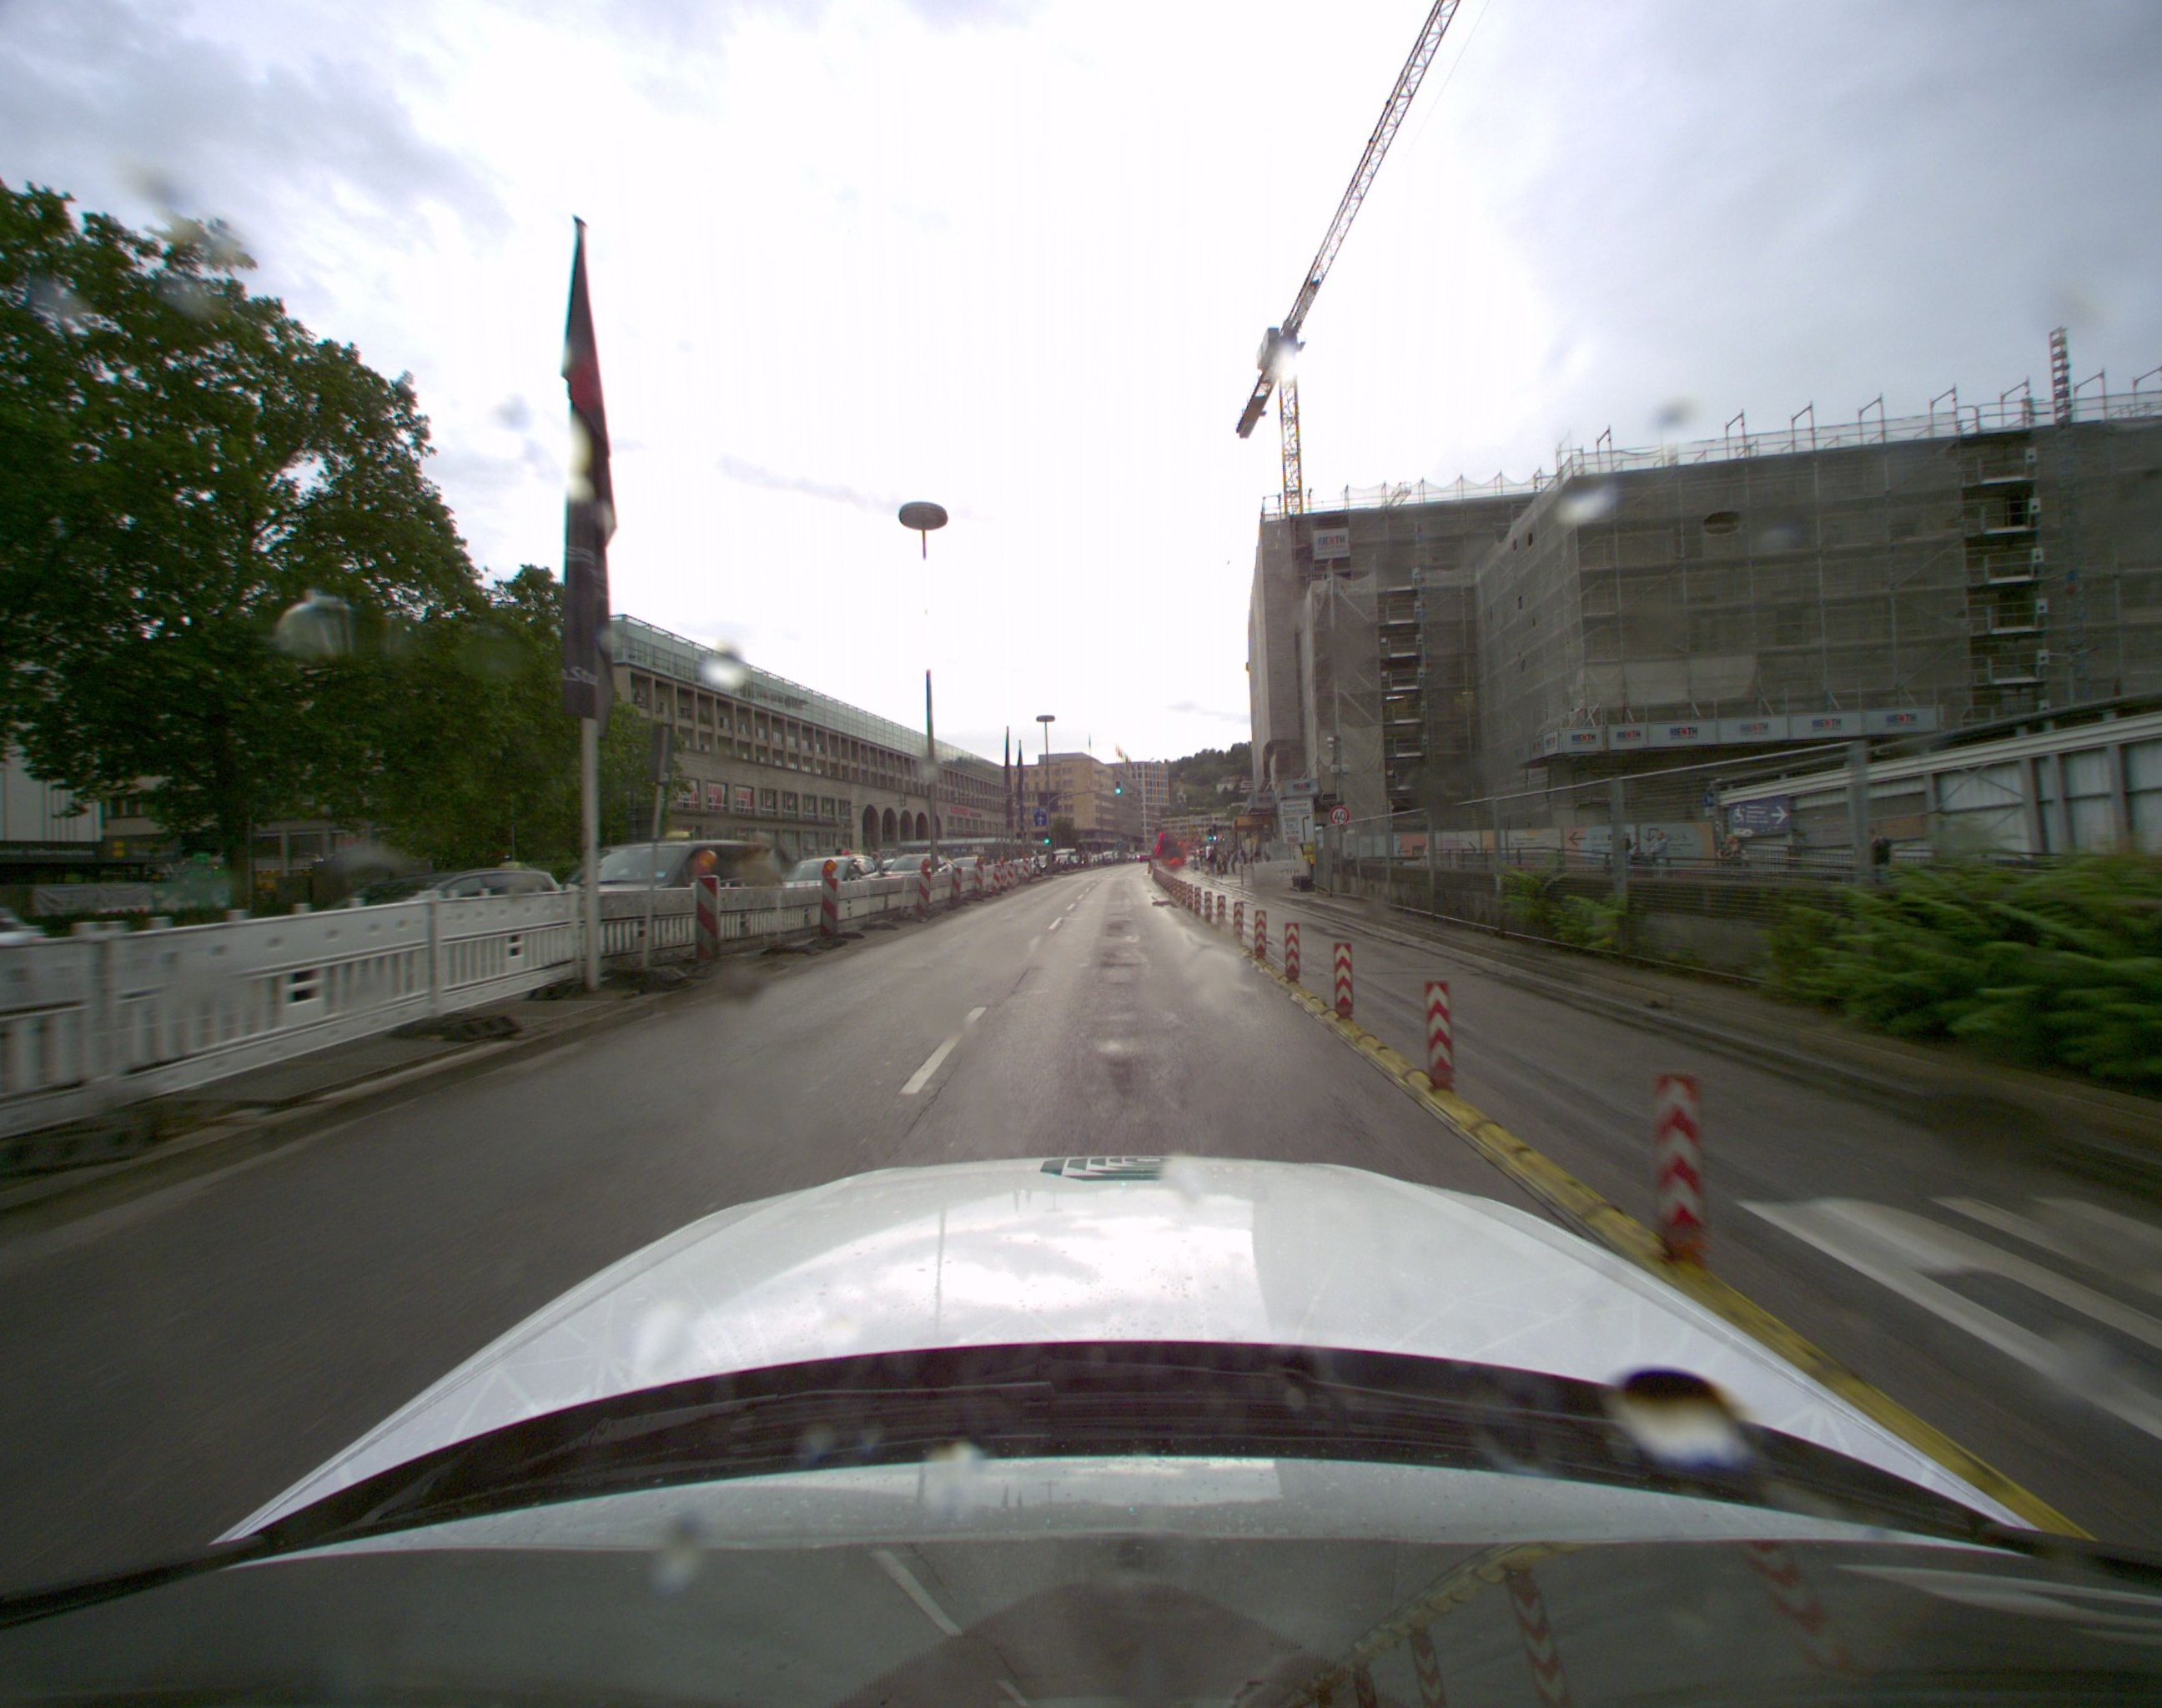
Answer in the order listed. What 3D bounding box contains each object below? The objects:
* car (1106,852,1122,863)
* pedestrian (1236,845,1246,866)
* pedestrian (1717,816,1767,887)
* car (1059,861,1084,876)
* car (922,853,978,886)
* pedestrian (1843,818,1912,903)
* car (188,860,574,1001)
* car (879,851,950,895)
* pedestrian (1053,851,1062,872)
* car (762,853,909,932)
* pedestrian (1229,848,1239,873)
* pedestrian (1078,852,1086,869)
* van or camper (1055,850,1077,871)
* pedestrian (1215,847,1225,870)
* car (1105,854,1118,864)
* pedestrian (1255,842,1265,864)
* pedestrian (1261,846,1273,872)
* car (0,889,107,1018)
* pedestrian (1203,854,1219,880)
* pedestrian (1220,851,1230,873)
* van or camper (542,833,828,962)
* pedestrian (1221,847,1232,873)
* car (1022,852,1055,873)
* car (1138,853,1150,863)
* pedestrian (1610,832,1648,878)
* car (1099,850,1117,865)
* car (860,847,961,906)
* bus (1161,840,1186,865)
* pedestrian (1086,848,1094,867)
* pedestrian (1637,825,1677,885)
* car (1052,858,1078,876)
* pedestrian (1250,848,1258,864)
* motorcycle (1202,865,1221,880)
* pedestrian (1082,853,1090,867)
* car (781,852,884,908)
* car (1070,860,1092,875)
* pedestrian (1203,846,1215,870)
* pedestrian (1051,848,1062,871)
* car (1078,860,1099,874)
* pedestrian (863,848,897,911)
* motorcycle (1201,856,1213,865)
[{"bbox_3d":[5.341,0.571,131.832,1.981,1.722,4.795,-3,-1,10],"label":"car"},{"bbox_3d":[14.223,0.145,72.420,0.719,1.847,0.812,-5,-1,8],"label":"pedestrian"},{"bbox_3d":[18.838,-0.065,23.237,0.775,2.014,0.765,0,-1,0],"label":"pedestrian"},{"bbox_3d":[-1.002,1.587,91.405,1.919,1.577,5.272,-4,-1,8],"label":"car"},{"bbox_3d":[-7.064,0.813,44.329,1.893,1.699,4.507,-1,0,6],"label":"car"},{"bbox_3d":[19.155,0.154,19.600,0.861,2.014,0.765,0,-1,0],"label":"pedestrian"},{"bbox_3d":[-10.236,0.989,12.476,1.881,1.702,4.308,-2,0,6],"label":"car"},{"bbox_3d":[-7.597,0.834,37.564,1.893,1.898,4.530,-1,0,6],"label":"car"},{"bbox_3d":[-1.917,0.584,66.771,0.648,1.711,0.594,-1,0,6],"label":"pedestrian"},{"bbox_3d":[-6.338,0.910,21.707,1.984,1.770,4.818,-3,0,6],"label":"car"},{"bbox_3d":[10.191,0.441,54.267,0.555,1.651,0.616,-5,-1,9],"label":"pedestrian"},{"bbox_3d":[0.114,0.673,86.790,0.694,1.755,0.713,-2,-1,8],"label":"pedestrian"},{"bbox_3d":[-1.887,0.791,106.688,1.983,2.514,5.380,-5,-1,6],"label":"van or camper"},{"bbox_3d":[10.056,0.312,58.980,0.555,1.641,0.754,-5,-1,9],"label":"pedestrian"},{"bbox_3d":[5.408,0.886,144.822,1.983,1.552,4.007,-3,-1,6],"label":"car"},{"bbox_3d":[13.404,-0.062,60.974,0.546,1.632,0.998,-5,-1,8],"label":"pedestrian"},{"bbox_3d":[11.997,0.311,52.531,0.560,1.651,0.617,-5,-1,12],"label":"pedestrian"},{"bbox_3d":[-15.821,1.394,10.156,1.878,1.702,4.313,-1,0,10],"label":"car"},{"bbox_3d":[8.800,0.897,55.134,0.584,1.741,0.813,-1,-1,-35],"label":"pedestrian"},{"bbox_3d":[9.889,0.540,56.072,0.555,1.449,0.713,-5,-1,9],"label":"pedestrian"},{"bbox_3d":[-6.502,0.649,14.304,1.936,1.819,5.400,-1,-1,6],"label":"van or camper"},{"bbox_3d":[10.213,0.425,57.207,0.555,1.752,0.713,-5,-1,9],"label":"pedestrian"},{"bbox_3d":[-3.496,0.672,67.788,2.005,1.621,4.850,-2,0,6],"label":"car"},{"bbox_3d":[10.635,0.623,137.408,1.985,1.552,4.003,-3,-1,3],"label":"car"},{"bbox_3d":[19.299,0.052,28.697,0.851,1.593,0.709,0,-1,0],"label":"pedestrian"},{"bbox_3d":[4.293,0.502,126.550,1.981,2.178,5.558,-3,-1,9],"label":"car"},{"bbox_3d":[-5.839,0.712,28.569,1.984,1.817,4.819,-3,0,6],"label":"car"},{"bbox_3d":[12.235,-0.180,107.215,2.739,3.069,9.102,-1,-1,9],"label":"bus"},{"bbox_3d":[1.002,0.343,86.693,0.719,2.008,0.774,-1,0,8],"label":"pedestrian"},{"bbox_3d":[19.671,0.048,27.811,0.801,2.014,0.765,0,-1,0],"label":"pedestrian"},{"bbox_3d":[-1.637,1.337,84.814,1.919,1.690,4.692,-4,-1,8],"label":"car"},{"bbox_3d":[17.810,0.215,83.754,0.647,1.540,0.667,-5,-1,9],"label":"pedestrian"},{"bbox_3d":[8.820,1.254,55.118,0.589,1.021,1.226,-1,-1,-35],"label":"motorcycle"},{"bbox_3d":[0.555,0.663,90.383,0.719,1.606,0.998,-1,0,8],"label":"pedestrian"},{"bbox_3d":[-8.601,0.843,28.636,1.775,1.722,4.490,-3,0,6],"label":"car"},{"bbox_3d":[-0.024,1.618,97.866,1.919,1.577,5.022,-4,-1,7],"label":"car"},{"bbox_3d":[9.485,0.300,60.245,0.557,1.759,0.750,-5,-1,-5],"label":"pedestrian"},{"bbox_3d":[-2.001,0.448,67.187,0.780,1.775,0.605,-5,-1,-4],"label":"pedestrian"},{"bbox_3d":[0.989,1.638,103.950,1.965,1.659,5.203,-4,-1,7],"label":"car"},{"bbox_3d":[-6.630,0.832,26.899,0.872,2.014,0.822,-2,-1,2],"label":"pedestrian"},{"bbox_3d":[15.630,0.815,101.341,1.626,1.166,0.579,0,-1,-43],"label":"motorcycle"}]
